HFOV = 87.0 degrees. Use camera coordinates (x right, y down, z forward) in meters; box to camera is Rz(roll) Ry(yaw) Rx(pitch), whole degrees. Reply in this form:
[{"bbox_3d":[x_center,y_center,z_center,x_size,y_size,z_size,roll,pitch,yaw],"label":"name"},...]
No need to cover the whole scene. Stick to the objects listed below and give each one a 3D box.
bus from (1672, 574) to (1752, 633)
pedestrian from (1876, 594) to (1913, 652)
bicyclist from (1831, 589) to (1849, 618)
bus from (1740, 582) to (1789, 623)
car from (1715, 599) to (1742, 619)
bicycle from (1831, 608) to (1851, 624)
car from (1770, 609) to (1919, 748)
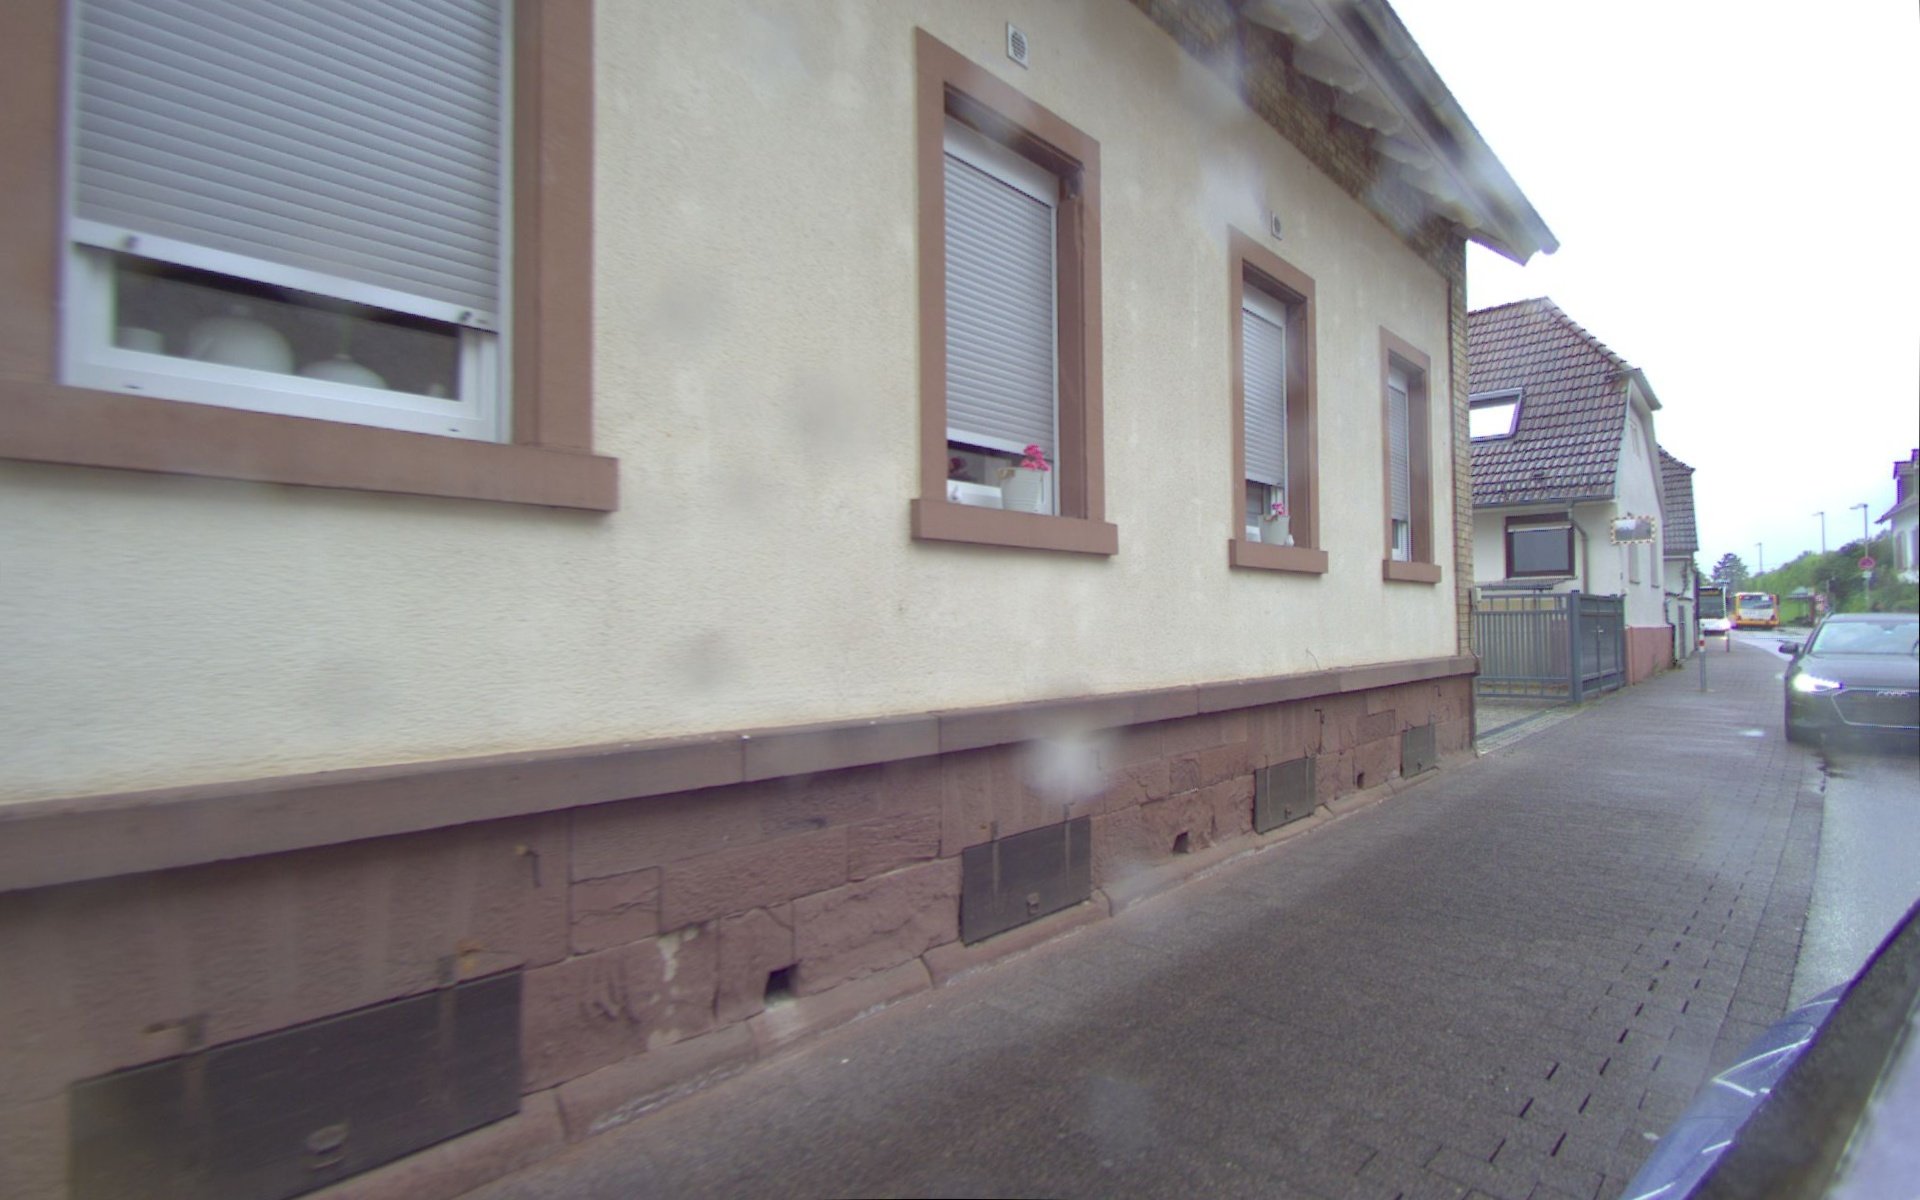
[{"bbox_3d":[49.128,0.260,66.462,3.419,3.455,13.700,-2,-1,34],"label":"bus"},{"bbox_3d":[28.693,0.700,31.083,0.692,1.755,0.811,-1,-1,35],"label":"pedestrian"},{"bbox_3d":[54.812,0.216,63.045,0.654,1.793,0.695,-3,-4,33],"label":"bicyclist"},{"bbox_3d":[64.760,0.216,81.510,2.800,2.977,11.774,-3,-2,38],"label":"bus"},{"bbox_3d":[81.726,0.960,107.664,1.986,2.039,4.192,-3,-2,34],"label":"car"},{"bbox_3d":[54.859,1.008,63.030,0.658,0.882,1.911,-3,-4,33],"label":"bicycle"},{"bbox_3d":[10.772,0.806,11.812,1.770,1.374,4.134,-1,-1,35],"label":"car"}]
